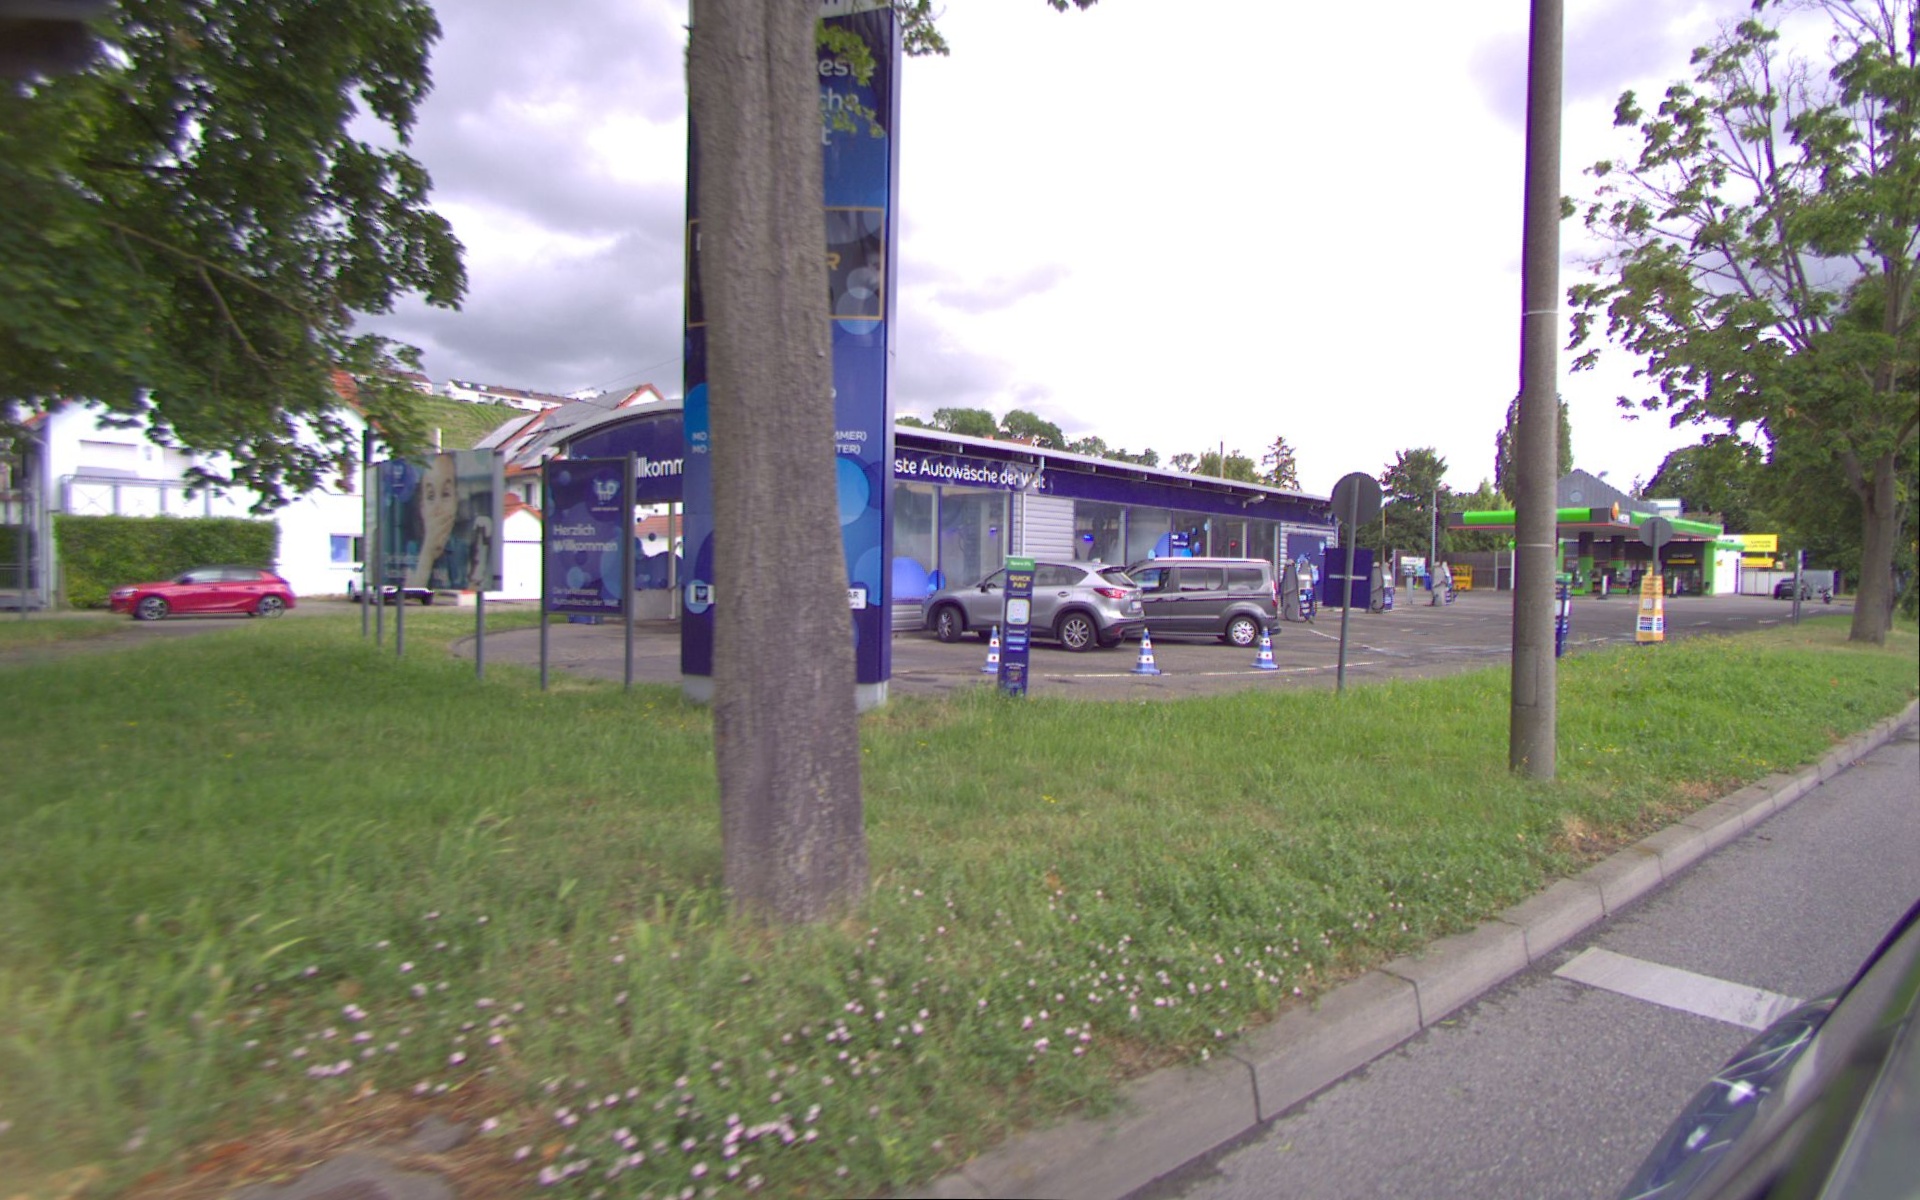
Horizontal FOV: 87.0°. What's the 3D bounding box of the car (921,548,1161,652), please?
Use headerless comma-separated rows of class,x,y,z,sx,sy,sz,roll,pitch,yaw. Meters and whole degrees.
car,1.514,-0.067,19.295,4.176,1.718,1.822,3,2,29

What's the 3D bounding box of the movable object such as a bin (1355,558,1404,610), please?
movable object such as a bin,15.304,-0.588,36.939,1.159,1.841,1.432,3,3,44

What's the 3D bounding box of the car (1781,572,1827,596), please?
car,65.170,-1.247,78.137,4.252,1.658,1.998,-1,5,-42

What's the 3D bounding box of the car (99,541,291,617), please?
car,-20.131,-0.536,26.729,1.616,1.866,3.861,-1,0,44

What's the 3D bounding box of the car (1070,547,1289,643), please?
car,4.538,-0.141,21.481,4.307,1.844,1.749,1,2,6

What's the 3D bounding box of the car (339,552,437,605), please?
car,-19.946,-0.721,35.250,3.798,1.716,1.891,-1,0,42
